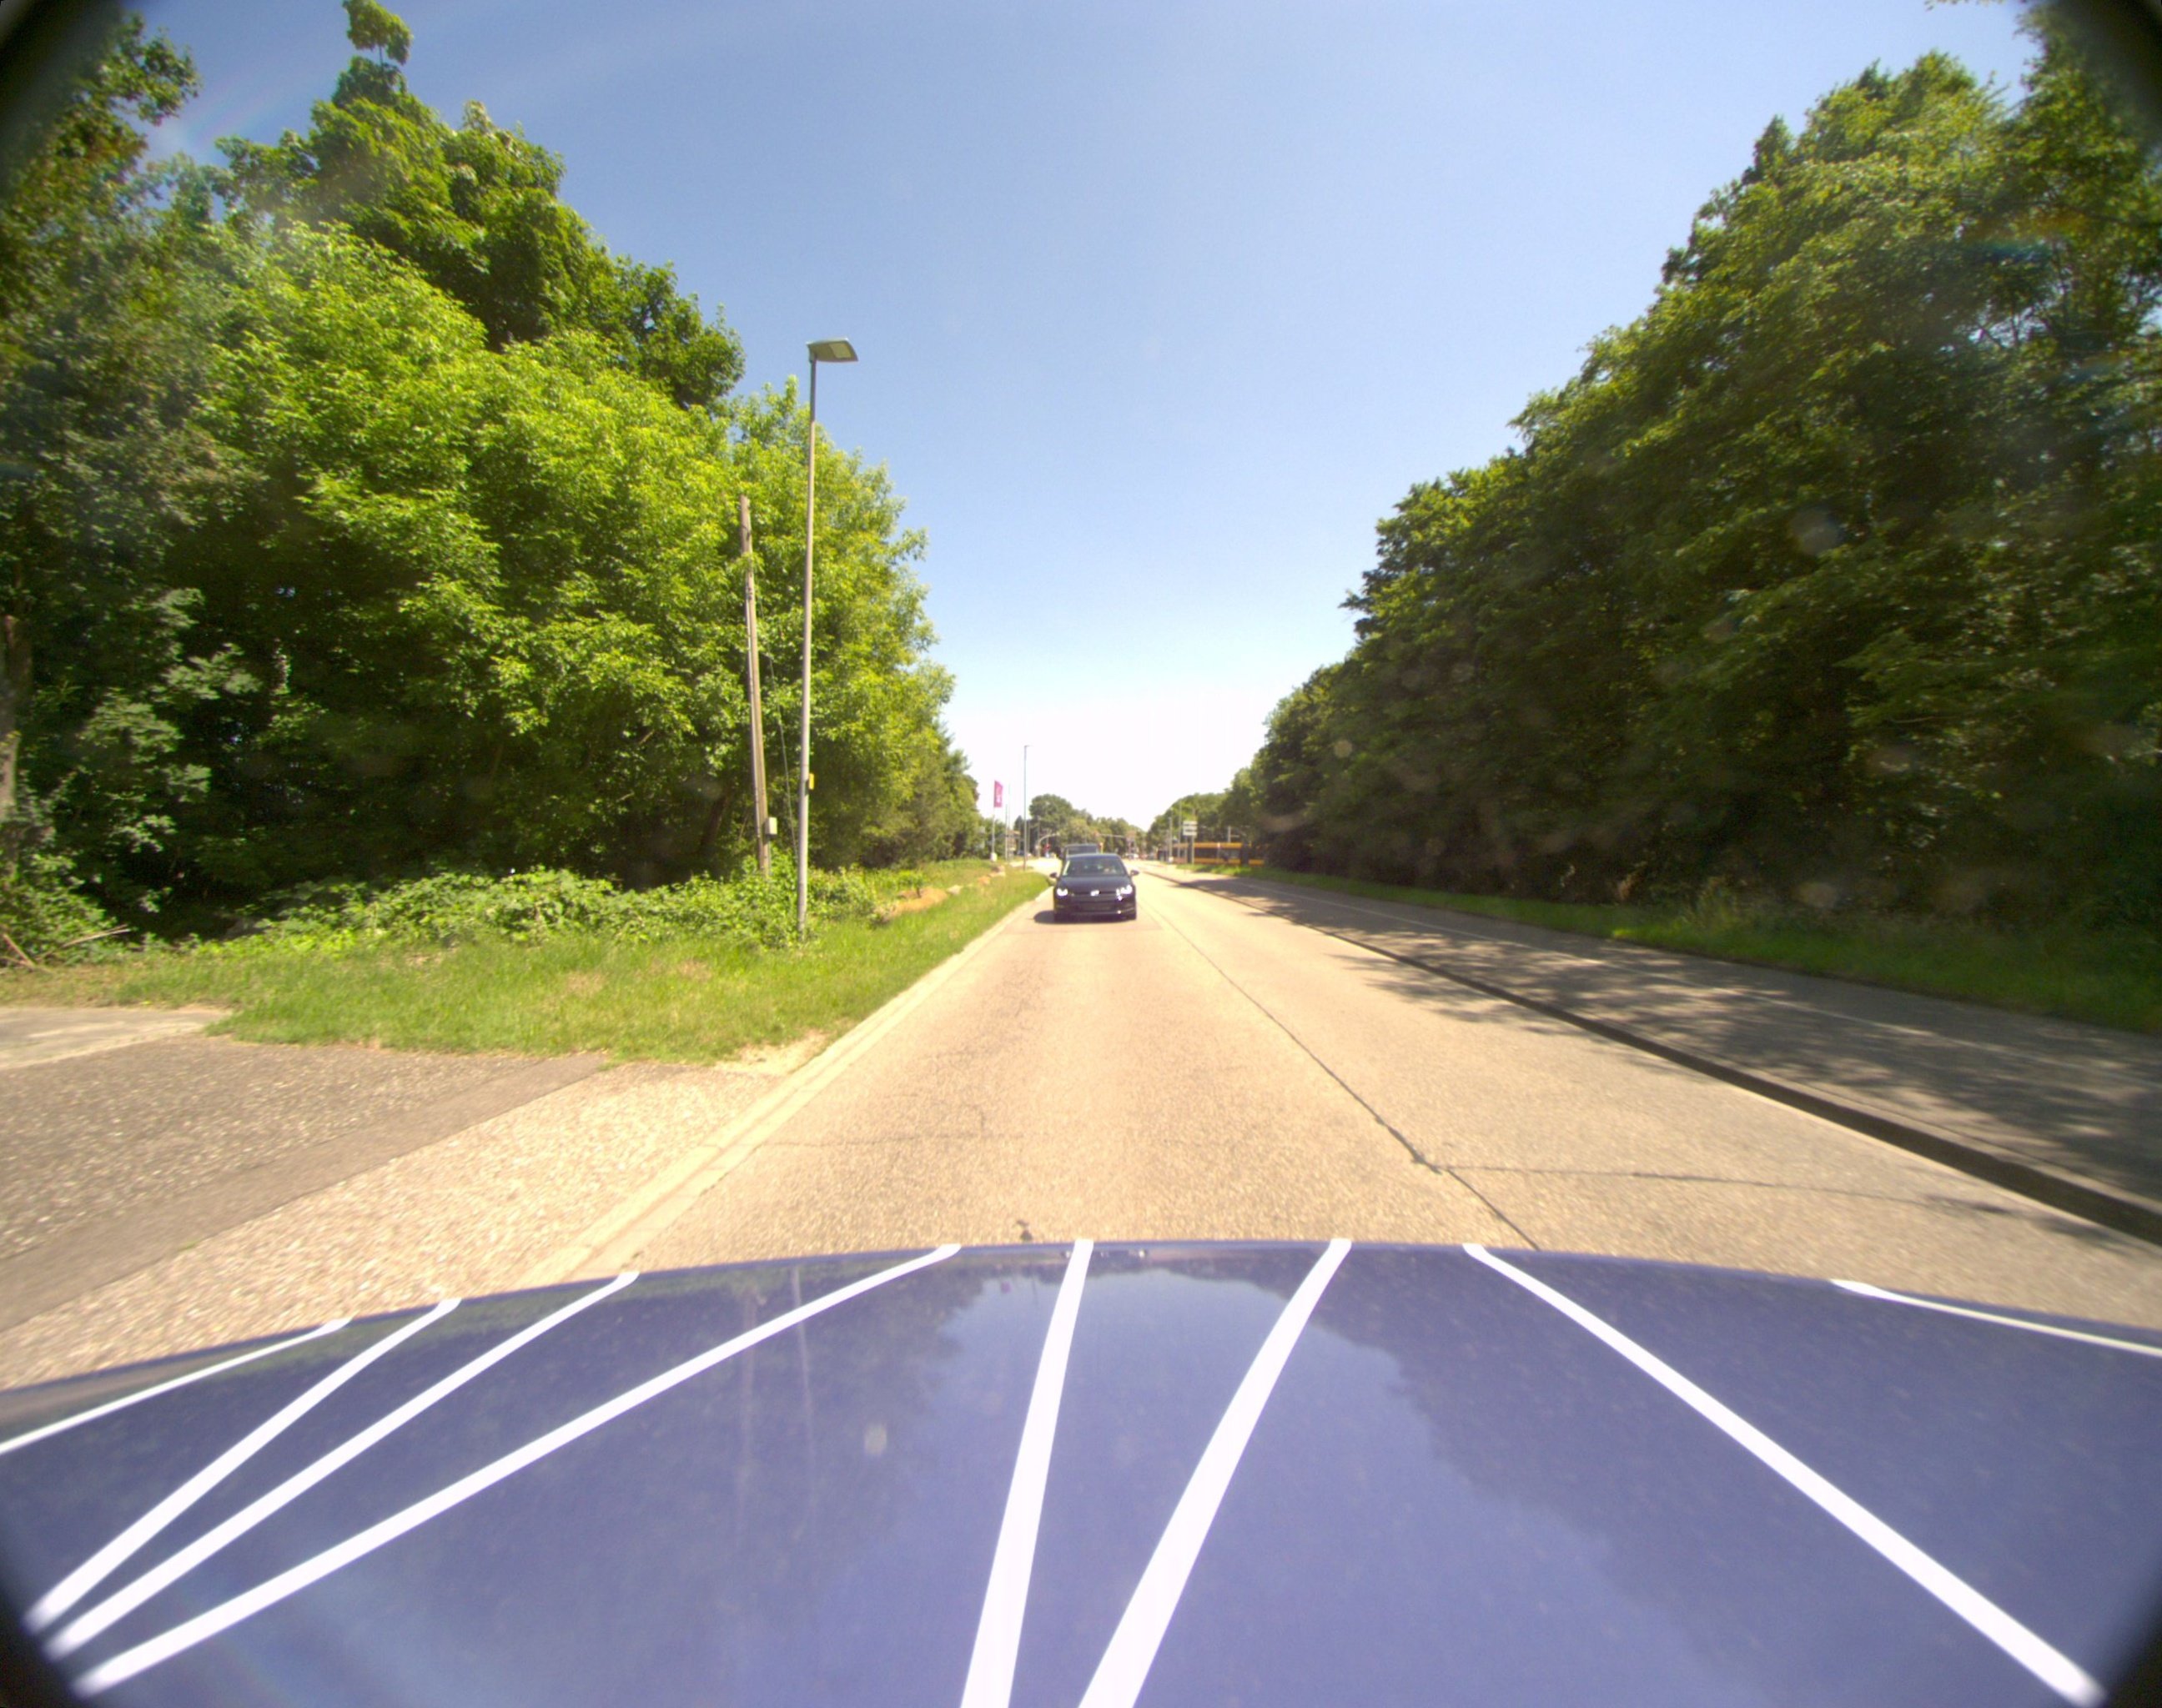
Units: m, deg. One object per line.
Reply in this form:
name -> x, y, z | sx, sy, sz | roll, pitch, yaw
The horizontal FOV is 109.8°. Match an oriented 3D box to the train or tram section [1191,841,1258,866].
train or tram section -> 20.224, -0.135, 107.889 | 2.656, 3.446, 10.826 | -1, 1, -32

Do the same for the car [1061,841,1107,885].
car -> 0.068, 0.393, 36.268 | 2.002, 1.965, 4.449 | 0, 0, -2

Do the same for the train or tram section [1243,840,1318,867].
train or tram section -> 26.534, -0.093, 101.316 | 9.325, 3.446, 2.788 | 0, 1, 33

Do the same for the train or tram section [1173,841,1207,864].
train or tram section -> 16.766, -0.223, 117.648 | 2.579, 3.446, 10.846 | 0, 0, -7

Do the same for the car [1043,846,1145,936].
car -> 0.235, 0.688, 16.745 | 1.887, 1.668, 4.662 | -2, 0, 0

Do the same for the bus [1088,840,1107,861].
bus -> 2.631, -0.501, 123.057 | 2.931, 3.248, 8.329 | 0, 0, 1
